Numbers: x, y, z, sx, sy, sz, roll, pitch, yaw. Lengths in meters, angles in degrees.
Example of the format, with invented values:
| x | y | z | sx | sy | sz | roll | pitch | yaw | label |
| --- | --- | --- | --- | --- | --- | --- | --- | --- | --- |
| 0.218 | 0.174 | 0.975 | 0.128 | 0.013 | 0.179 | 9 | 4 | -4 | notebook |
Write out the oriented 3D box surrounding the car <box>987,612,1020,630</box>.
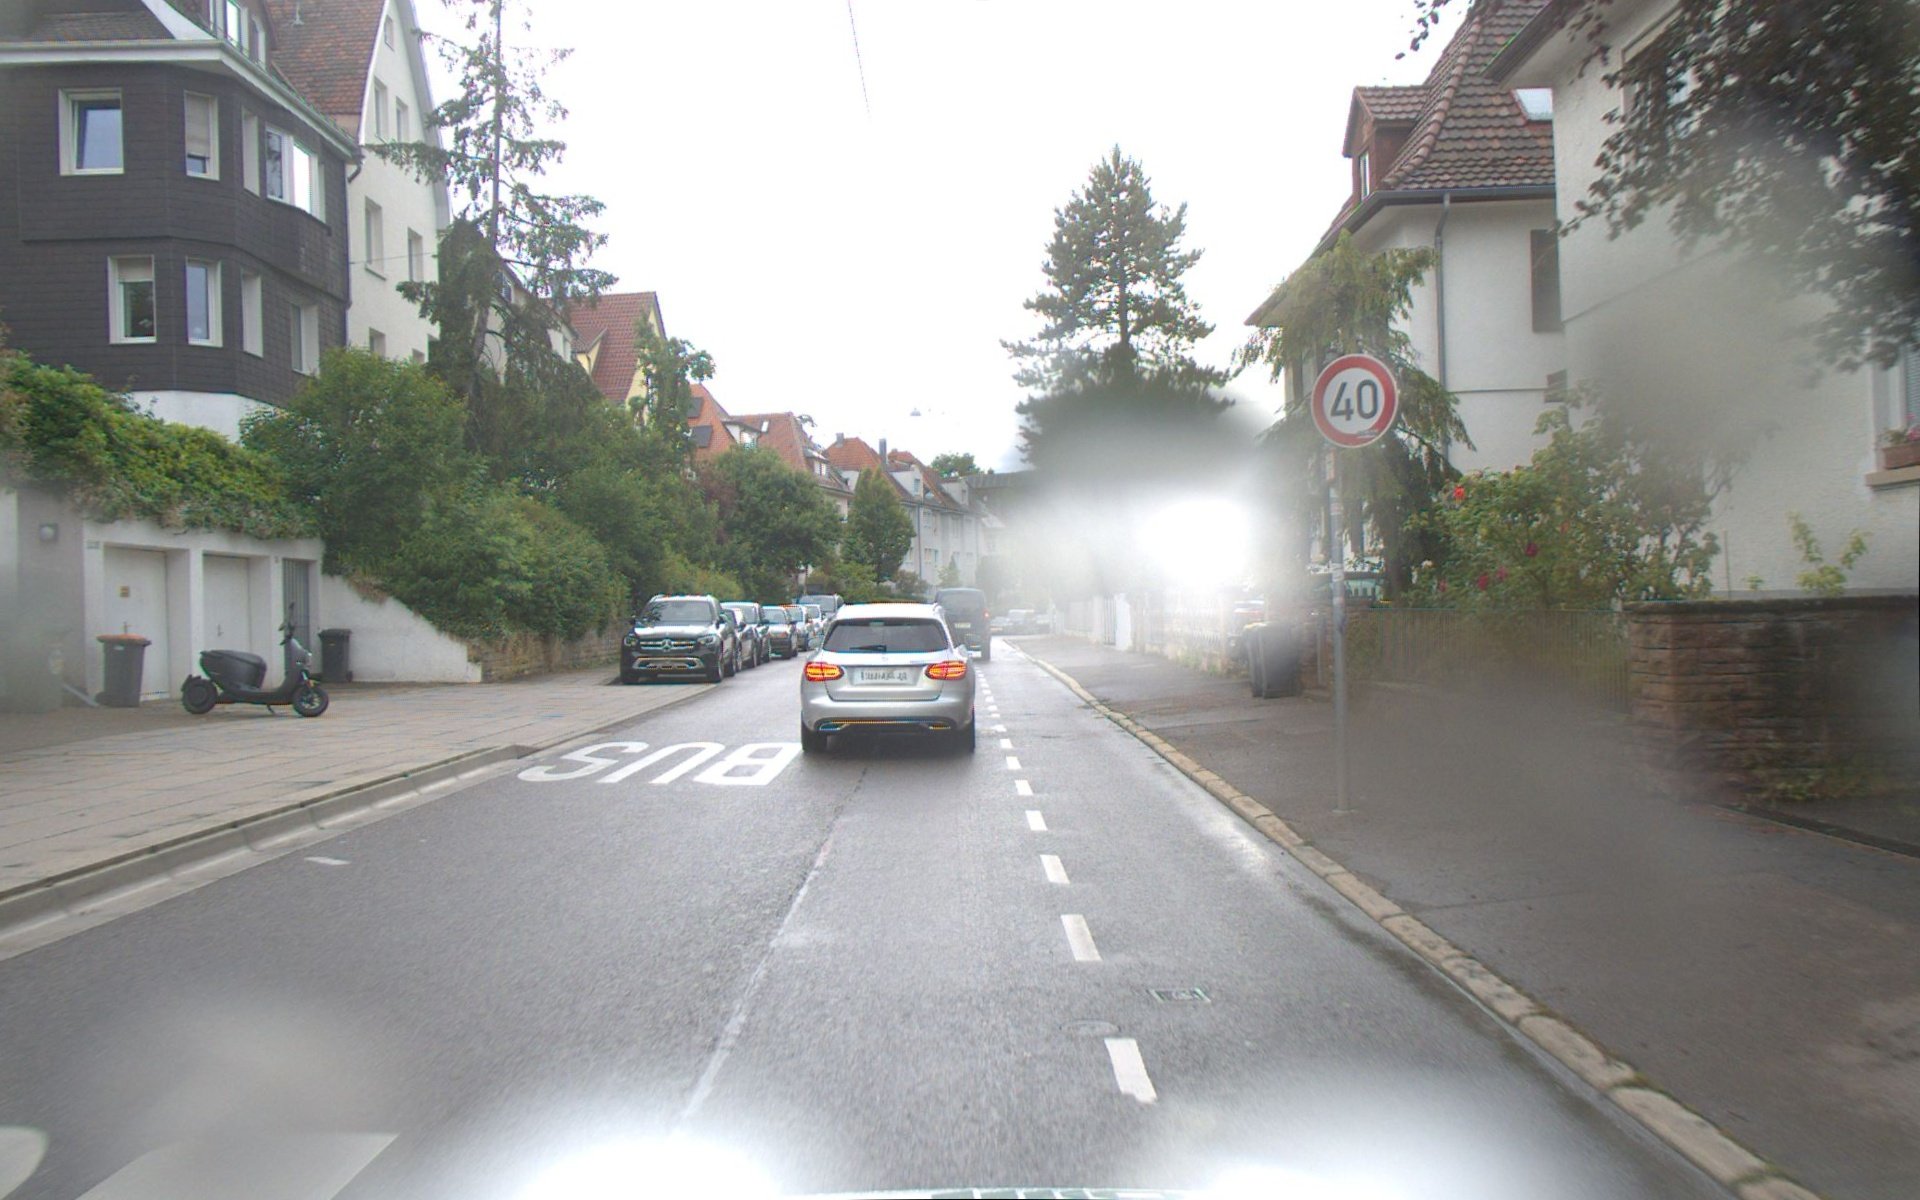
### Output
| x | y | z | sx | sy | sz | roll | pitch | yaw | label |
| --- | --- | --- | --- | --- | --- | --- | --- | --- | --- |
| 3.410 | 1.629 | 129.336 | 1.608 | 1.442 | 4.616 | 0 | 0 | 14 | car |

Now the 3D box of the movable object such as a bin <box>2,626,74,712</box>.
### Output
| x | y | z | sx | sy | sz | roll | pitch | yaw | label |
| --- | --- | --- | --- | --- | --- | --- | --- | --- | --- |
| -10.875 | 0.806 | 19.519 | 0.562 | 0.970 | 0.512 | -1 | 1 | -5 | movable object such as a bin |

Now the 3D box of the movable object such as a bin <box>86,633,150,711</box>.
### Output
| x | y | z | sx | sy | sz | roll | pitch | yaw | label |
| --- | --- | --- | --- | --- | --- | --- | --- | --- | --- |
| -10.917 | 0.926 | 21.457 | 0.562 | 0.970 | 0.512 | -1 | 1 | -5 | movable object such as a bin |

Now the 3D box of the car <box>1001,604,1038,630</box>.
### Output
| x | y | z | sx | sy | sz | roll | pitch | yaw | label |
| --- | --- | --- | --- | --- | --- | --- | --- | --- | --- |
| 4.897 | 1.418 | 134.620 | 1.791 | 2.092 | 5.012 | 0 | -1 | 17 | car |

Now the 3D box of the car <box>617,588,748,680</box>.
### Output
| x | y | z | sx | sy | sz | roll | pitch | yaw | label |
| --- | --- | --- | --- | --- | --- | --- | --- | --- | --- |
| -5.305 | 0.611 | 32.092 | 1.855 | 1.651 | 4.378 | 0 | 0 | -1 | car |

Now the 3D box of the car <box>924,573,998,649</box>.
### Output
| x | y | z | sx | sy | sz | roll | pitch | yaw | label |
| --- | --- | --- | --- | --- | --- | --- | --- | --- | --- |
| -0.020 | 0.320 | 44.073 | 1.806 | 1.937 | 3.998 | 0 | -1 | -2 | car |

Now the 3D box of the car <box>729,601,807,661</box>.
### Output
| x | y | z | sx | sy | sz | roll | pitch | yaw | label |
| --- | --- | --- | --- | --- | --- | --- | --- | --- | --- |
| -5.364 | 0.827 | 46.628 | 1.720 | 1.472 | 4.416 | -1 | 2 | -1 | car |

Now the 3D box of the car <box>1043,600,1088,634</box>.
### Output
| x | y | z | sx | sy | sz | roll | pitch | yaw | label |
| --- | --- | --- | --- | --- | --- | --- | --- | --- | --- |
| 9.465 | 1.504 | 148.203 | 2.341 | 2.820 | 6.534 | 0 | 1 | 20 | car |

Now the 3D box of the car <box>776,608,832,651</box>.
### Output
| x | y | z | sx | sy | sz | roll | pitch | yaw | label |
| --- | --- | --- | --- | --- | --- | --- | --- | --- | --- |
| -5.636 | 1.056 | 60.083 | 1.659 | 1.472 | 3.813 | -1 | 0 | 0 | car |

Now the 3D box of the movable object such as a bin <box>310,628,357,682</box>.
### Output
| x | y | z | sx | sy | sz | roll | pitch | yaw | label |
| --- | --- | --- | --- | --- | --- | --- | --- | --- | --- |
| -10.994 | 0.960 | 29.018 | 0.617 | 0.904 | 0.480 | -2 | 2 | -45 | movable object such as a bin |

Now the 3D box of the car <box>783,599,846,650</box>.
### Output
| x | y | z | sx | sy | sz | roll | pitch | yaw | label |
| --- | --- | --- | --- | --- | --- | --- | --- | --- | --- |
| -5.774 | 0.944 | 66.049 | 1.952 | 1.911 | 5.357 | 0 | 0 | 1 | car |

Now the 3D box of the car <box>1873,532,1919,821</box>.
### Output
| x | y | z | sx | sy | sz | roll | pitch | yaw | label |
| --- | --- | --- | --- | --- | --- | --- | --- | --- | --- |
| 7.027 | 0.331 | 8.006 | 4.060 | 1.512 | 1.977 | -1 | -4 | 3 | car |

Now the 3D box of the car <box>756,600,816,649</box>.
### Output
| x | y | z | sx | sy | sz | roll | pitch | yaw | label |
| --- | --- | --- | --- | --- | --- | --- | --- | --- | --- |
| -5.708 | 0.781 | 54.562 | 1.613 | 1.472 | 3.628 | -1 | 1 | -1 | car |

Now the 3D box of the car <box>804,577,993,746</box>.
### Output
| x | y | z | sx | sy | sz | roll | pitch | yaw | label |
| --- | --- | --- | --- | --- | --- | --- | --- | --- | --- |
| -0.677 | 0.578 | 17.588 | 1.780 | 1.584 | 3.998 | 0 | 0 | -3 | car |

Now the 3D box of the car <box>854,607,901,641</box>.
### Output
| x | y | z | sx | sy | sz | roll | pitch | yaw | label |
| --- | --- | --- | --- | --- | --- | --- | --- | --- | --- |
| -4.495 | 1.298 | 90.593 | 1.952 | 1.732 | 4.741 | 2 | 0 | 4 | car |

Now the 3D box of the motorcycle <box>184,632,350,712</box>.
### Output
| x | y | z | sx | sy | sz | roll | pitch | yaw | label |
| --- | --- | --- | --- | --- | --- | --- | --- | --- | --- |
| -8.461 | 0.878 | 20.234 | 1.757 | 0.919 | 0.603 | 1 | 0 | -1 | motorcycle |

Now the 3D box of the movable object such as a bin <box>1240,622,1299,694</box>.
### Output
| x | y | z | sx | sy | sz | roll | pitch | yaw | label |
| --- | --- | --- | --- | --- | --- | --- | --- | --- | --- |
| 3.903 | 0.730 | 20.882 | 0.638 | 0.870 | 0.503 | -1 | 1 | -3 | movable object such as a bin |

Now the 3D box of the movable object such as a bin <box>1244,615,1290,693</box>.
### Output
| x | y | z | sx | sy | sz | roll | pitch | yaw | label |
| --- | --- | --- | --- | --- | --- | --- | --- | --- | --- |
| 3.970 | 0.691 | 21.424 | 0.484 | 0.972 | 0.503 | -1 | 1 | -2 | movable object such as a bin |

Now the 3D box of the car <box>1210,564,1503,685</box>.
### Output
| x | y | z | sx | sy | sz | roll | pitch | yaw | label |
| --- | --- | --- | --- | --- | --- | --- | --- | --- | --- |
| 5.820 | 0.332 | 24.612 | 3.906 | 1.668 | 1.918 | -1 | 1 | -1 | car |

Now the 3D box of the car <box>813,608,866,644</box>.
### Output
| x | y | z | sx | sy | sz | roll | pitch | yaw | label |
| --- | --- | --- | --- | --- | --- | --- | --- | --- | --- |
| -5.686 | 1.206 | 78.739 | 1.952 | 1.608 | 4.762 | 2 | 0 | 2 | car |

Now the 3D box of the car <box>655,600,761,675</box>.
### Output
| x | y | z | sx | sy | sz | roll | pitch | yaw | label |
| --- | --- | --- | --- | --- | --- | --- | --- | --- | --- |
| -5.624 | 0.798 | 37.317 | 1.855 | 1.472 | 3.813 | -1 | 1 | -1 | car |

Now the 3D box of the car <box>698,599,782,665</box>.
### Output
| x | y | z | sx | sy | sz | roll | pitch | yaw | label |
| --- | --- | --- | --- | --- | --- | --- | --- | --- | --- |
| -5.499 | 0.775 | 41.762 | 1.662 | 1.568 | 3.813 | 0 | 0 | -1 | car |

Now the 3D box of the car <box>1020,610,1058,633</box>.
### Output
| x | y | z | sx | sy | sz | roll | pitch | yaw | label |
| --- | --- | --- | --- | --- | --- | --- | --- | --- | --- |
| 6.767 | 1.818 | 141.084 | 1.952 | 1.718 | 4.678 | 0 | 2 | 20 | car |
